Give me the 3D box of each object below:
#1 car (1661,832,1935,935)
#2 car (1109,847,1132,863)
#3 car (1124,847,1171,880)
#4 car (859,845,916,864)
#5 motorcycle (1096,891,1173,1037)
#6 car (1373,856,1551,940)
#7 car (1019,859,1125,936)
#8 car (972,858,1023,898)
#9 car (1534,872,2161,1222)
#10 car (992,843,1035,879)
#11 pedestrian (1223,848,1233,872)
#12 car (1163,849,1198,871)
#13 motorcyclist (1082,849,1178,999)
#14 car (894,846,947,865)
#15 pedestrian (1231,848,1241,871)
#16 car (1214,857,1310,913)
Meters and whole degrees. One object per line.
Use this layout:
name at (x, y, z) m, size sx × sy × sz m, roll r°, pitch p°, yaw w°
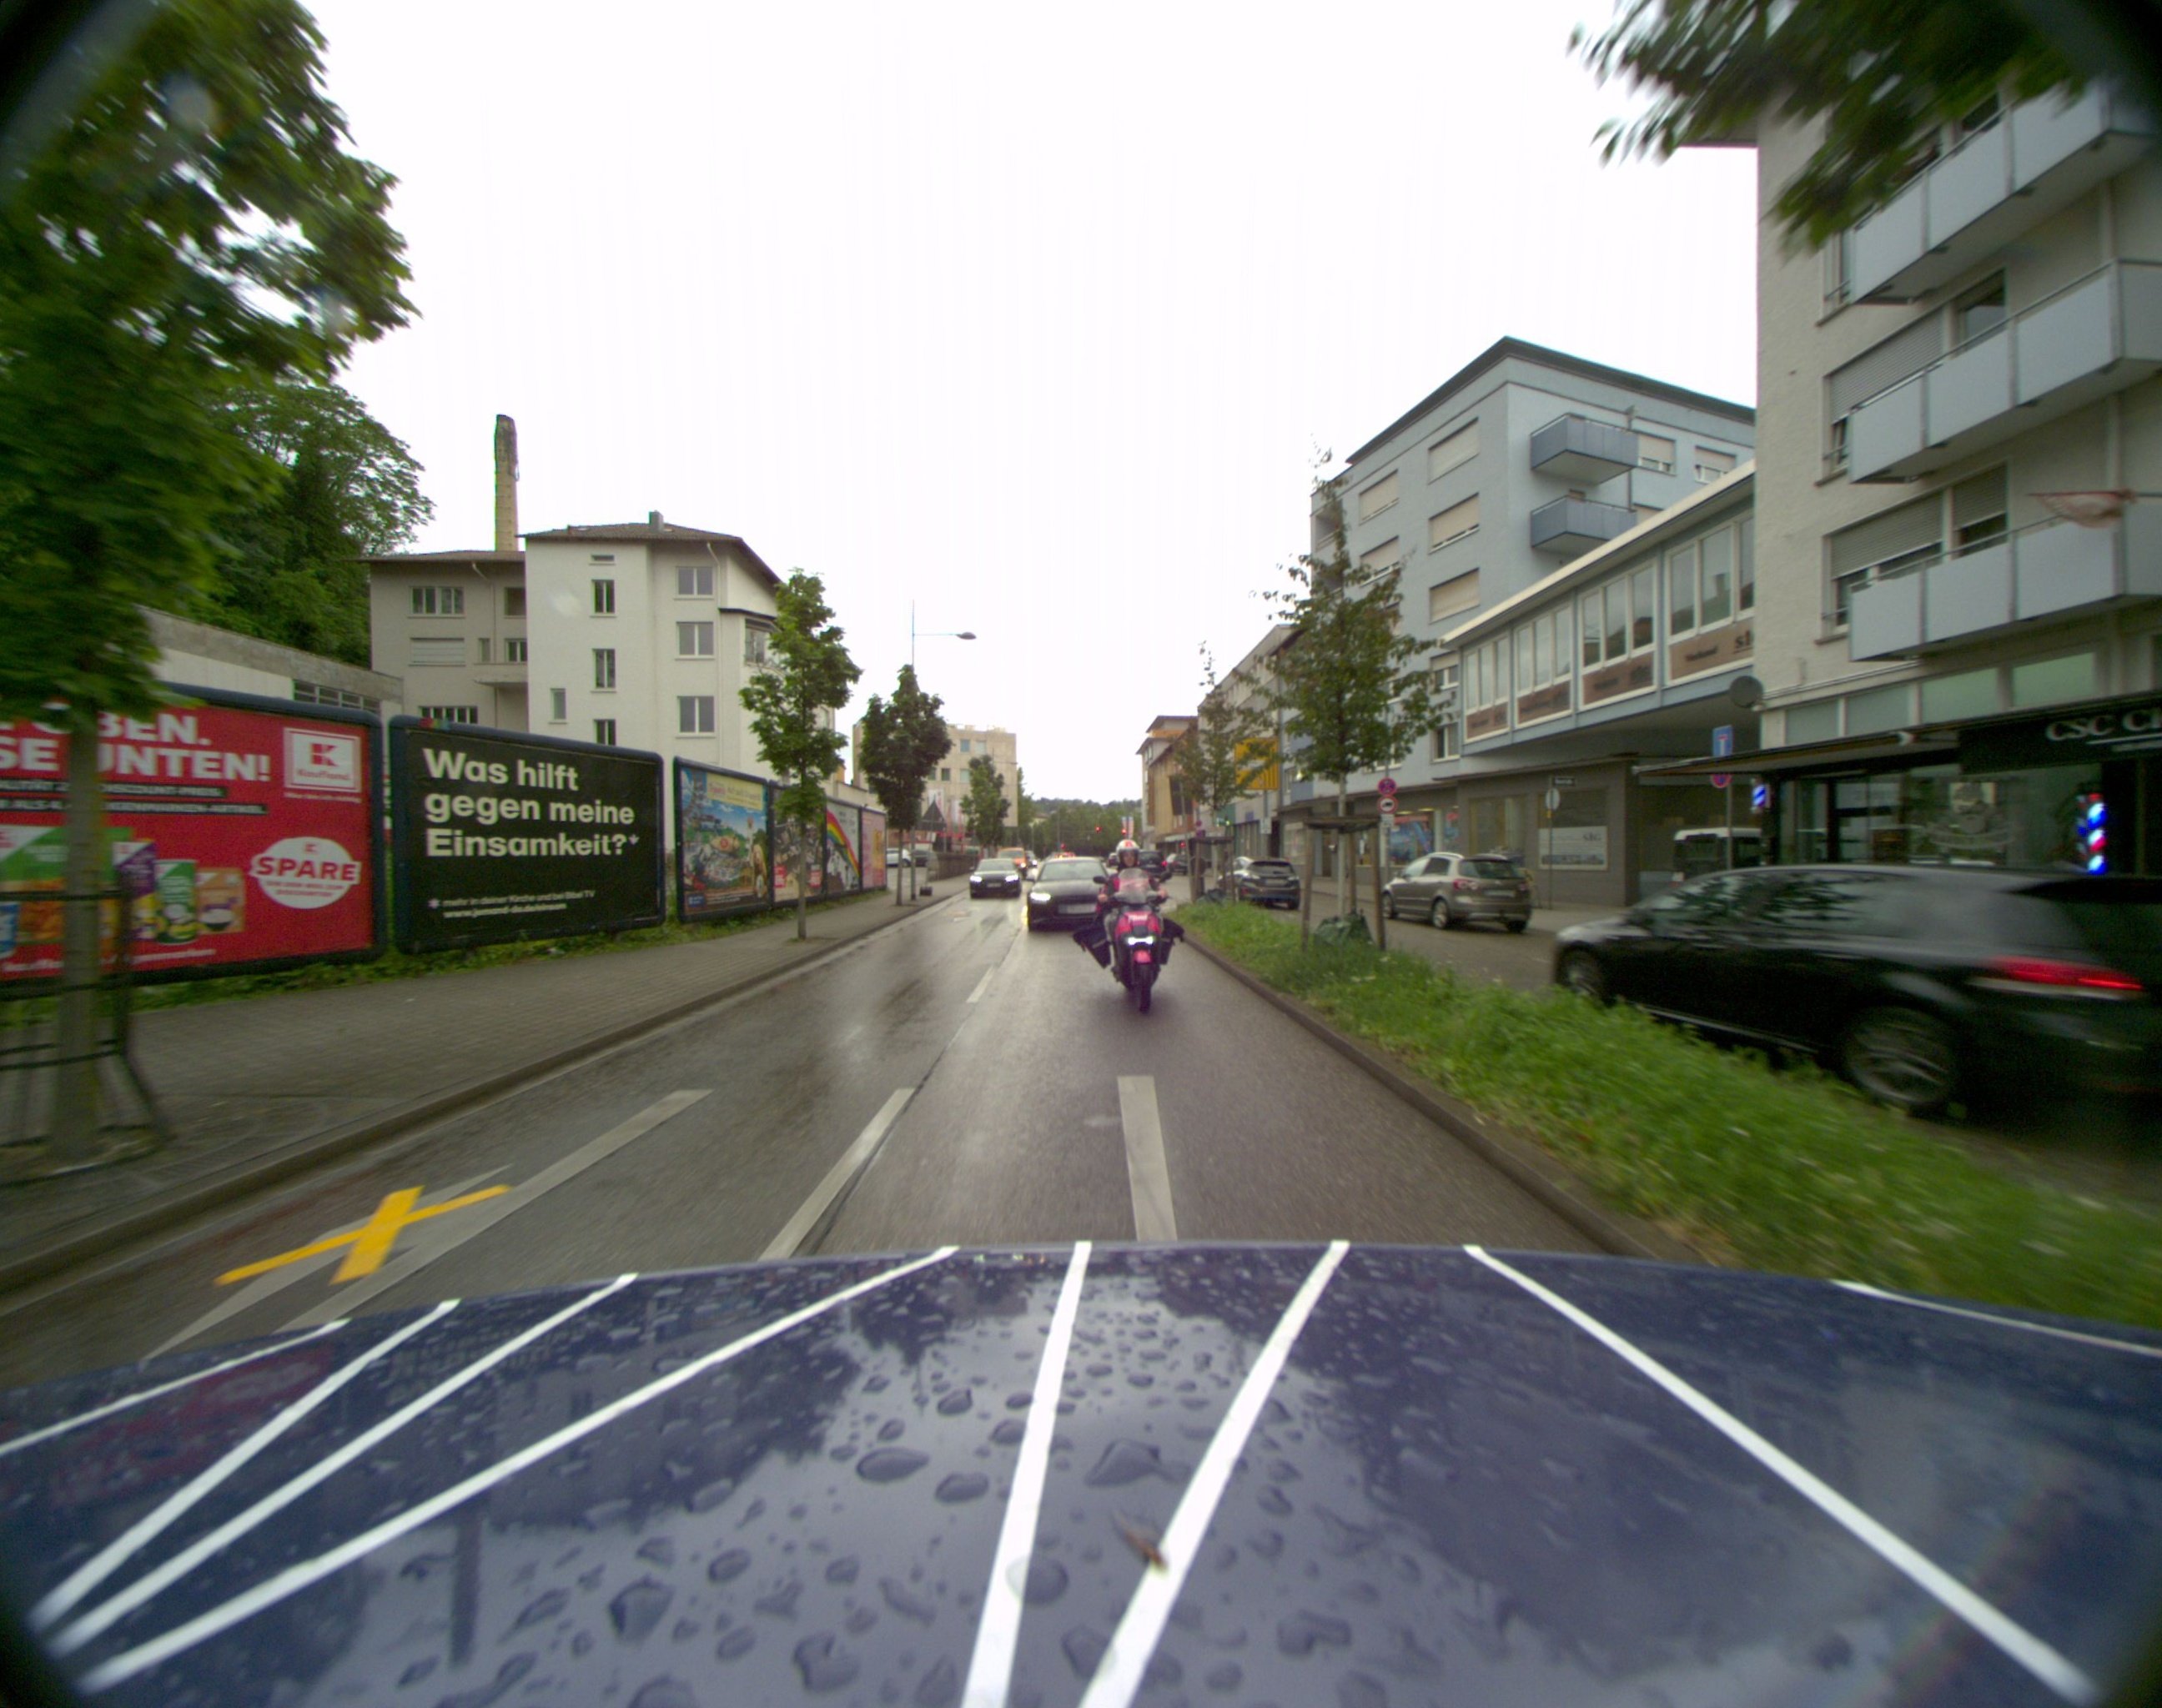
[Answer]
car at (14.964, 0.571, 16.040) m, size 3.997 × 2.042 × 1.894 m, roll 0°, pitch 1°, yaw 0°
car at (3.951, 0.123, 76.767) m, size 1.909 × 1.471 × 3.998 m, roll 2°, pitch 1°, yaw -2°
car at (3.437, 0.466, 39.781) m, size 1.778 × 1.634 × 3.838 m, roll 2°, pitch 0°, yaw -5°
car at (-16.154, 0.070, 63.591) m, size 4.254 × 1.566 × 1.940 m, roll 1°, pitch -2°, yaw -43°
motorcycle at (0.503, 1.033, 7.836) m, size 0.588 × 1.184 × 2.102 m, roll -1°, pitch 0°, yaw -1°
car at (8.215, 0.873, 16.846) m, size 1.777 × 1.579 × 4.025 m, roll 2°, pitch 0°, yaw -2°
car at (-0.200, 0.863, 17.451) m, size 2.040 × 1.379 × 5.293 m, roll 1°, pitch 0°, yaw 0°
car at (-3.193, 0.882, 29.643) m, size 1.812 × 1.331 × 4.275 m, roll -1°, pitch 1°, yaw -4°
car at (5.459, 0.918, 5.427) m, size 1.822 × 1.432 × 4.157 m, roll 2°, pitch 0°, yaw -2°
car at (-4.172, 0.347, 47.985) m, size 2.198 × 2.074 × 5.931 m, roll -1°, pitch 1°, yaw 0°
pedestrian at (10.588, 0.413, 54.703) m, size 0.527 × 1.679 × 0.531 m, roll 1°, pitch 3°, yaw -1°
car at (7.164, 0.391, 54.942) m, size 1.852 × 1.473 × 4.201 m, roll 2°, pitch 1°, yaw -2°
motorcyclist at (0.492, 0.696, 8.003) m, size 0.917 × 1.485 × 0.864 m, roll -1°, pitch 1°, yaw -1°
car at (-14.468, 0.163, 68.594) m, size 4.253 × 1.566 × 1.941 m, roll 1°, pitch -2°, yaw -38°
pedestrian at (11.153, 0.385, 54.696) m, size 0.513 × 1.679 × 0.531 m, roll 1°, pitch 3°, yaw -1°
car at (5.129, 0.821, 22.030) m, size 1.703 × 1.432 × 3.839 m, roll 2°, pitch 0°, yaw -2°
